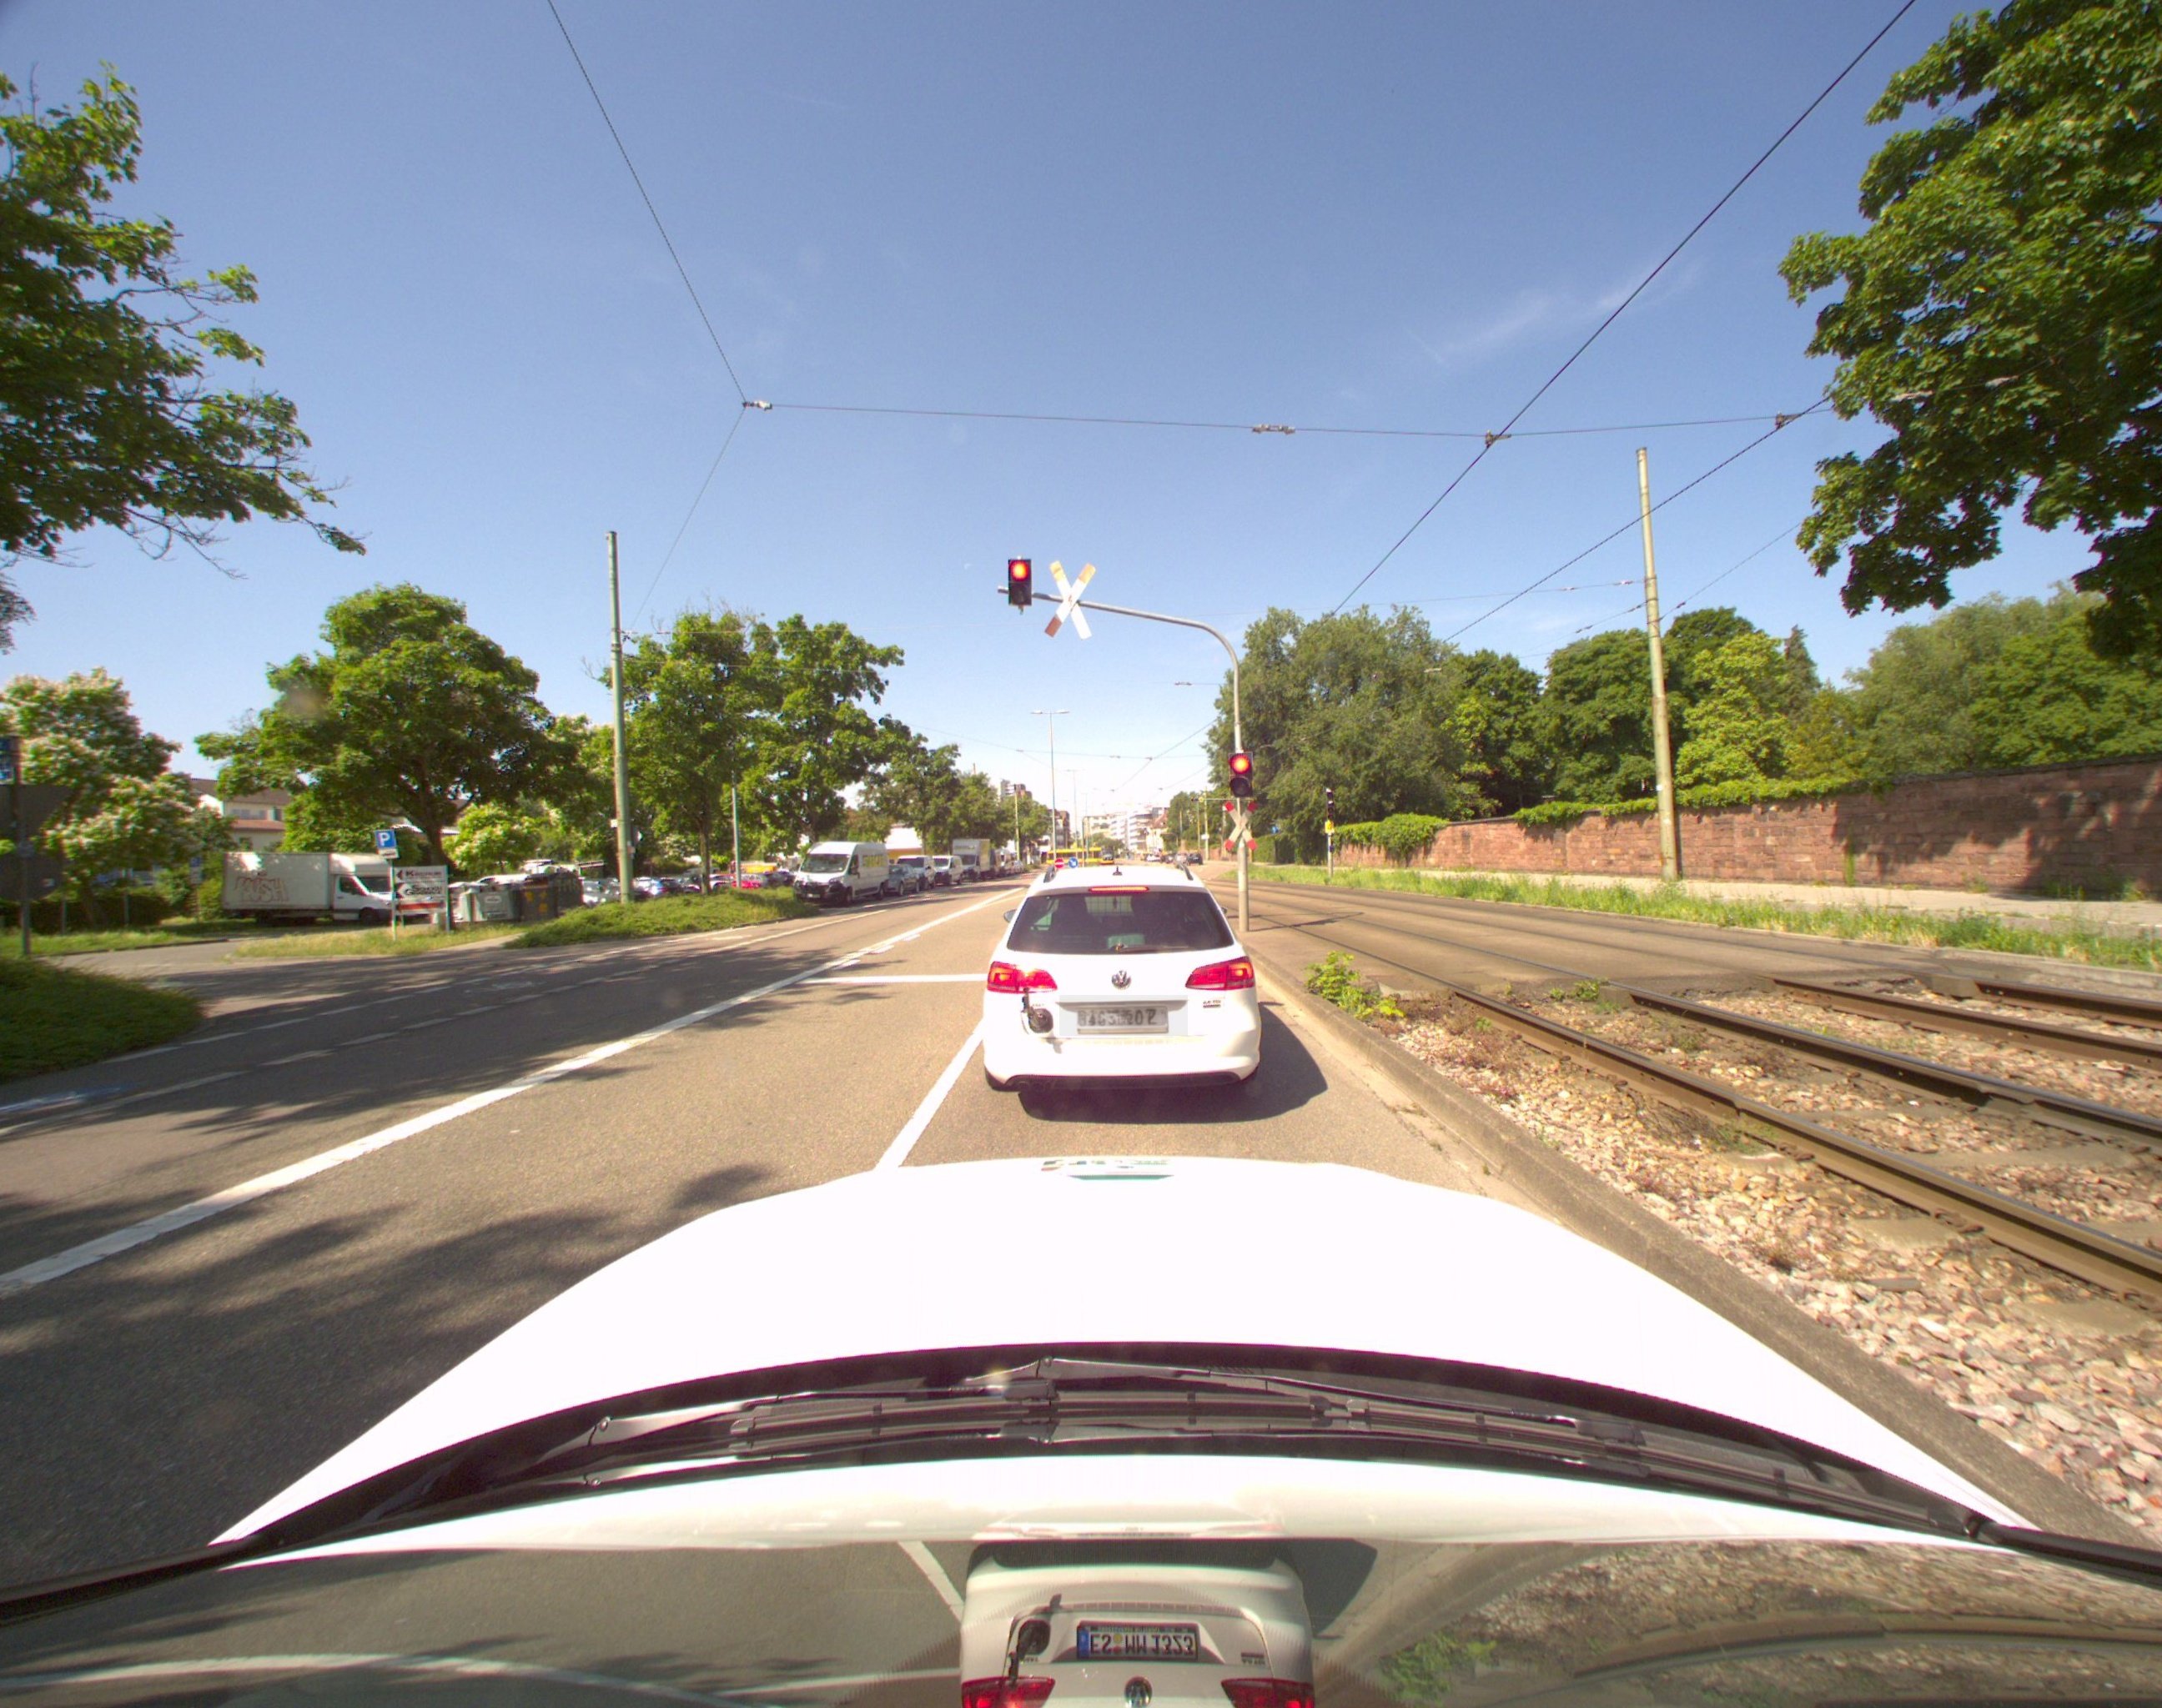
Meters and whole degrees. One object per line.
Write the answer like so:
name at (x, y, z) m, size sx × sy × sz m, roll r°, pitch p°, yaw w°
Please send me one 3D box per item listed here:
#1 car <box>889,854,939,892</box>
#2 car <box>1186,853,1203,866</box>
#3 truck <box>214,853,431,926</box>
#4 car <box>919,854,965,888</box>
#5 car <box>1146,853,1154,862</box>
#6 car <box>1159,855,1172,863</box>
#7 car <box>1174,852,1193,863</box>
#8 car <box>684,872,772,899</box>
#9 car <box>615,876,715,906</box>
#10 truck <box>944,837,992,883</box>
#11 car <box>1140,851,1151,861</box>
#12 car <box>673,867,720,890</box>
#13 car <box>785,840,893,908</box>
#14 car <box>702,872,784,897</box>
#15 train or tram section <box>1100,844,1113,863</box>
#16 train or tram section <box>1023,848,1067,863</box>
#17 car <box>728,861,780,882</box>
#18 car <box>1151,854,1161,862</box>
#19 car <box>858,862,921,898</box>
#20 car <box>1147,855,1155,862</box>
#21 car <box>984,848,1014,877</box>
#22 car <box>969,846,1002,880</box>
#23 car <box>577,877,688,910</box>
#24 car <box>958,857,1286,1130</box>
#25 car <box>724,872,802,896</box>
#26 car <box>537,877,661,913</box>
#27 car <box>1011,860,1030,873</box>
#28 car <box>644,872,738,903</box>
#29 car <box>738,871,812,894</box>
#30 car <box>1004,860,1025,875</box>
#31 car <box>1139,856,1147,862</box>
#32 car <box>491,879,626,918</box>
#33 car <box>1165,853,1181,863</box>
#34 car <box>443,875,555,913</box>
car at (-9.294, 1.003, 45.770) m, size 1.839 × 1.937 × 5.189 m, roll -3°, pitch 0°, yaw -2°
car at (12.717, 0.614, 91.357) m, size 1.737 × 1.388 × 3.920 m, roll -1°, pitch 0°, yaw 6°
truck at (-32.455, 1.484, 35.013) m, size 7.119 × 3.019 × 2.231 m, roll 0°, pitch 0°, yaw -1°
car at (-8.869, 1.024, 52.344) m, size 1.836 × 1.960 × 5.137 m, roll -3°, pitch 0°, yaw 2°
car at (15.548, 0.796, 183.991) m, size 1.685 × 1.812 × 3.455 m, roll 0°, pitch -1°, yaw 1°
car at (13.918, 0.808, 133.668) m, size 1.740 × 1.407 × 3.912 m, roll 0°, pitch 0°, yaw 0°
car at (13.138, 0.460, 104.658) m, size 1.855 × 1.416 × 4.325 m, roll 0°, pitch 0°, yaw 0°
car at (-19.432, 1.727, 44.912) m, size 3.969 × 1.264 × 1.773 m, roll -3°, pitch 0°, yaw 4°
car at (-20.299, 1.798, 39.830) m, size 3.969 × 1.225 × 1.773 m, roll -3°, pitch 0°, yaw 4°
truck at (-8.301, 0.413, 60.700) m, size 2.348 × 3.122 × 6.892 m, roll -3°, pitch 0°, yaw 1°
car at (16.211, 0.526, 203.863) m, size 2.454 × 2.499 × 5.912 m, roll 0°, pitch -1°, yaw 1°
car at (-34.376, 2.175, 72.899) m, size 3.412 × 1.876 × 1.552 m, roll -3°, pitch 0°, yaw -1°
car at (-9.581, 0.710, 32.904) m, size 2.049 × 2.501 × 6.315 m, roll 0°, pitch 0°, yaw 4°
car at (-19.667, 1.781, 47.514) m, size 3.969 × 1.225 × 1.773 m, roll -3°, pitch 0°, yaw 4°
train or tram section at (4.691, -0.002, 149.963) m, size 2.292 × 3.253 × 11.279 m, roll 0°, pitch -1°, yaw 2°
train or tram section at (-7.917, 0.378, 176.465) m, size 10.668 × 3.253 × 2.323 m, roll -1°, pitch -1°, yaw 39°
car at (-31.257, 1.685, 77.927) m, size 4.249 × 2.014 × 1.997 m, roll 0°, pitch -1°, yaw -5°
car at (14.101, 0.742, 153.612) m, size 1.576 × 1.346 × 3.455 m, roll 0°, pitch -1°, yaw 1°
car at (-9.091, 1.194, 38.979) m, size 1.837 × 1.516 × 4.199 m, roll -3°, pitch 0°, yaw 2°
car at (14.683, 0.954, 171.137) m, size 1.576 × 1.346 × 3.455 m, roll 0°, pitch -1°, yaw 1°
car at (-7.608, 0.776, 76.273) m, size 1.836 × 2.494 × 5.860 m, roll -3°, pitch 0°, yaw 2°
car at (-7.978, 0.752, 68.464) m, size 1.836 × 2.668 × 5.006 m, roll -3°, pitch 0°, yaw 2°
car at (-20.116, 1.747, 36.597) m, size 3.969 × 1.225 × 1.773 m, roll -3°, pitch 0°, yaw 4°
car at (0.254, 0.759, 6.347) m, size 1.762 × 1.446 × 3.913 m, roll 0°, pitch 0°, yaw 1°
car at (-19.533, 1.819, 50.108) m, size 3.969 × 1.225 × 1.773 m, roll -3°, pitch 0°, yaw 4°
car at (-19.921, 1.695, 33.773) m, size 3.974 × 1.225 × 1.771 m, roll -3°, pitch 0°, yaw 0°
car at (-7.154, 1.478, 96.938) m, size 1.774 × 1.433 × 4.039 m, roll -3°, pitch 0°, yaw 2°
car at (-20.308, 1.725, 42.513) m, size 3.969 × 1.350 × 1.773 m, roll -3°, pitch 0°, yaw 4°
car at (-19.659, 1.844, 52.436) m, size 3.969 × 1.225 × 1.773 m, roll -3°, pitch 0°, yaw 4°
car at (-7.441, 1.497, 91.576) m, size 1.837 × 1.433 × 4.039 m, roll -3°, pitch 0°, yaw 2°
car at (16.641, 1.287, 218.926) m, size 1.986 × 1.596 × 4.002 m, roll 0°, pitch -1°, yaw 2°
car at (-20.017, 1.694, 31.293) m, size 3.974 × 1.225 × 1.771 m, roll -3°, pitch 0°, yaw 0°
car at (13.391, 0.565, 118.919) m, size 1.855 × 1.513 × 3.913 m, roll 0°, pitch 0°, yaw 0°
car at (-32.218, 2.171, 45.199) m, size 4.683 × 2.014 × 1.997 m, roll 0°, pitch -1°, yaw -4°
